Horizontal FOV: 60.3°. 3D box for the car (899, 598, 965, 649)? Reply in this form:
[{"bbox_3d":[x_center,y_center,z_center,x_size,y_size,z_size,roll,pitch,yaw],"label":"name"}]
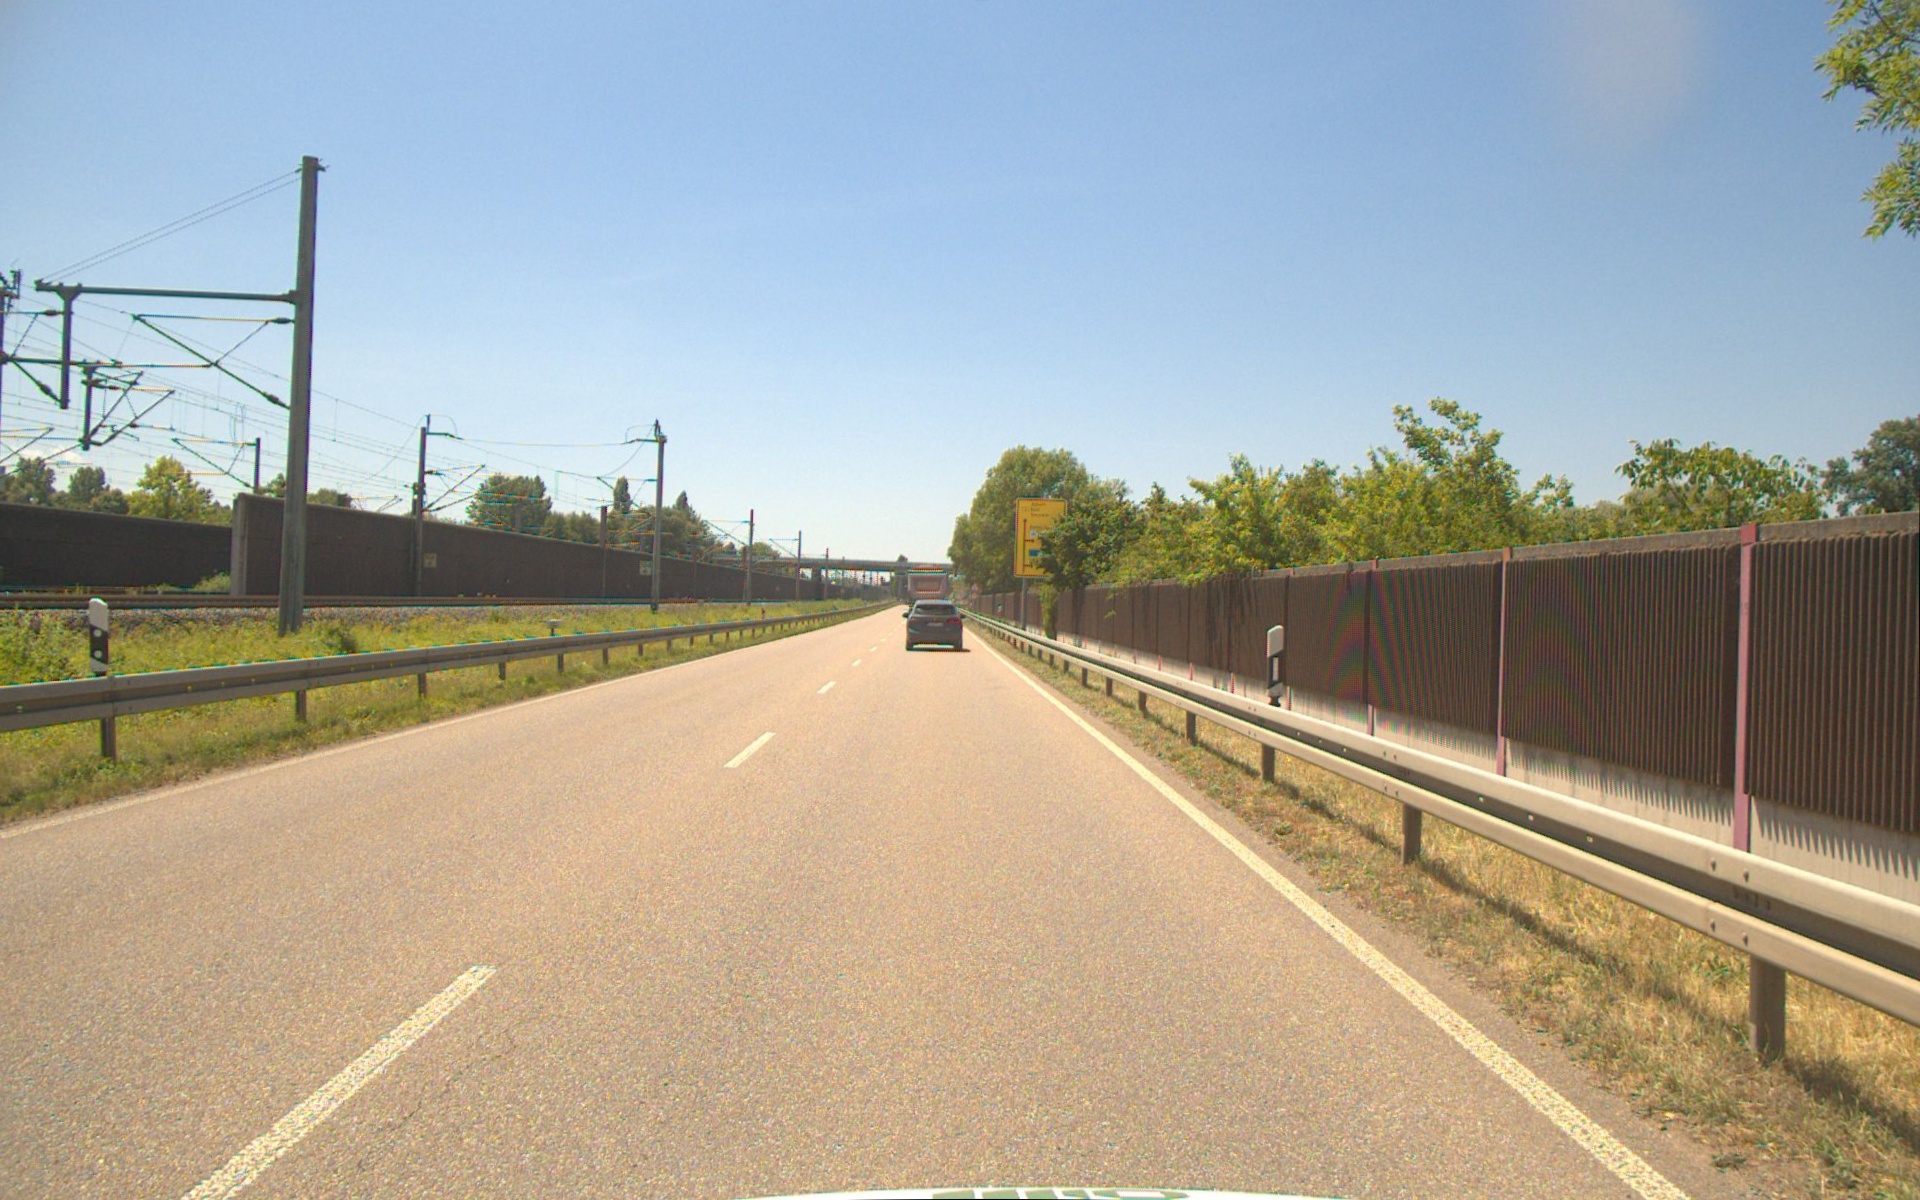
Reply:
[{"bbox_3d":[-0.922,0.717,52.687,1.954,1.534,3.998,0,0,-3],"label":"car"}]

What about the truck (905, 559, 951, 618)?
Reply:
[{"bbox_3d":[-2.000,-0.699,104.786,2.714,3.485,10.817,1,0,-1],"label":"truck"}]
